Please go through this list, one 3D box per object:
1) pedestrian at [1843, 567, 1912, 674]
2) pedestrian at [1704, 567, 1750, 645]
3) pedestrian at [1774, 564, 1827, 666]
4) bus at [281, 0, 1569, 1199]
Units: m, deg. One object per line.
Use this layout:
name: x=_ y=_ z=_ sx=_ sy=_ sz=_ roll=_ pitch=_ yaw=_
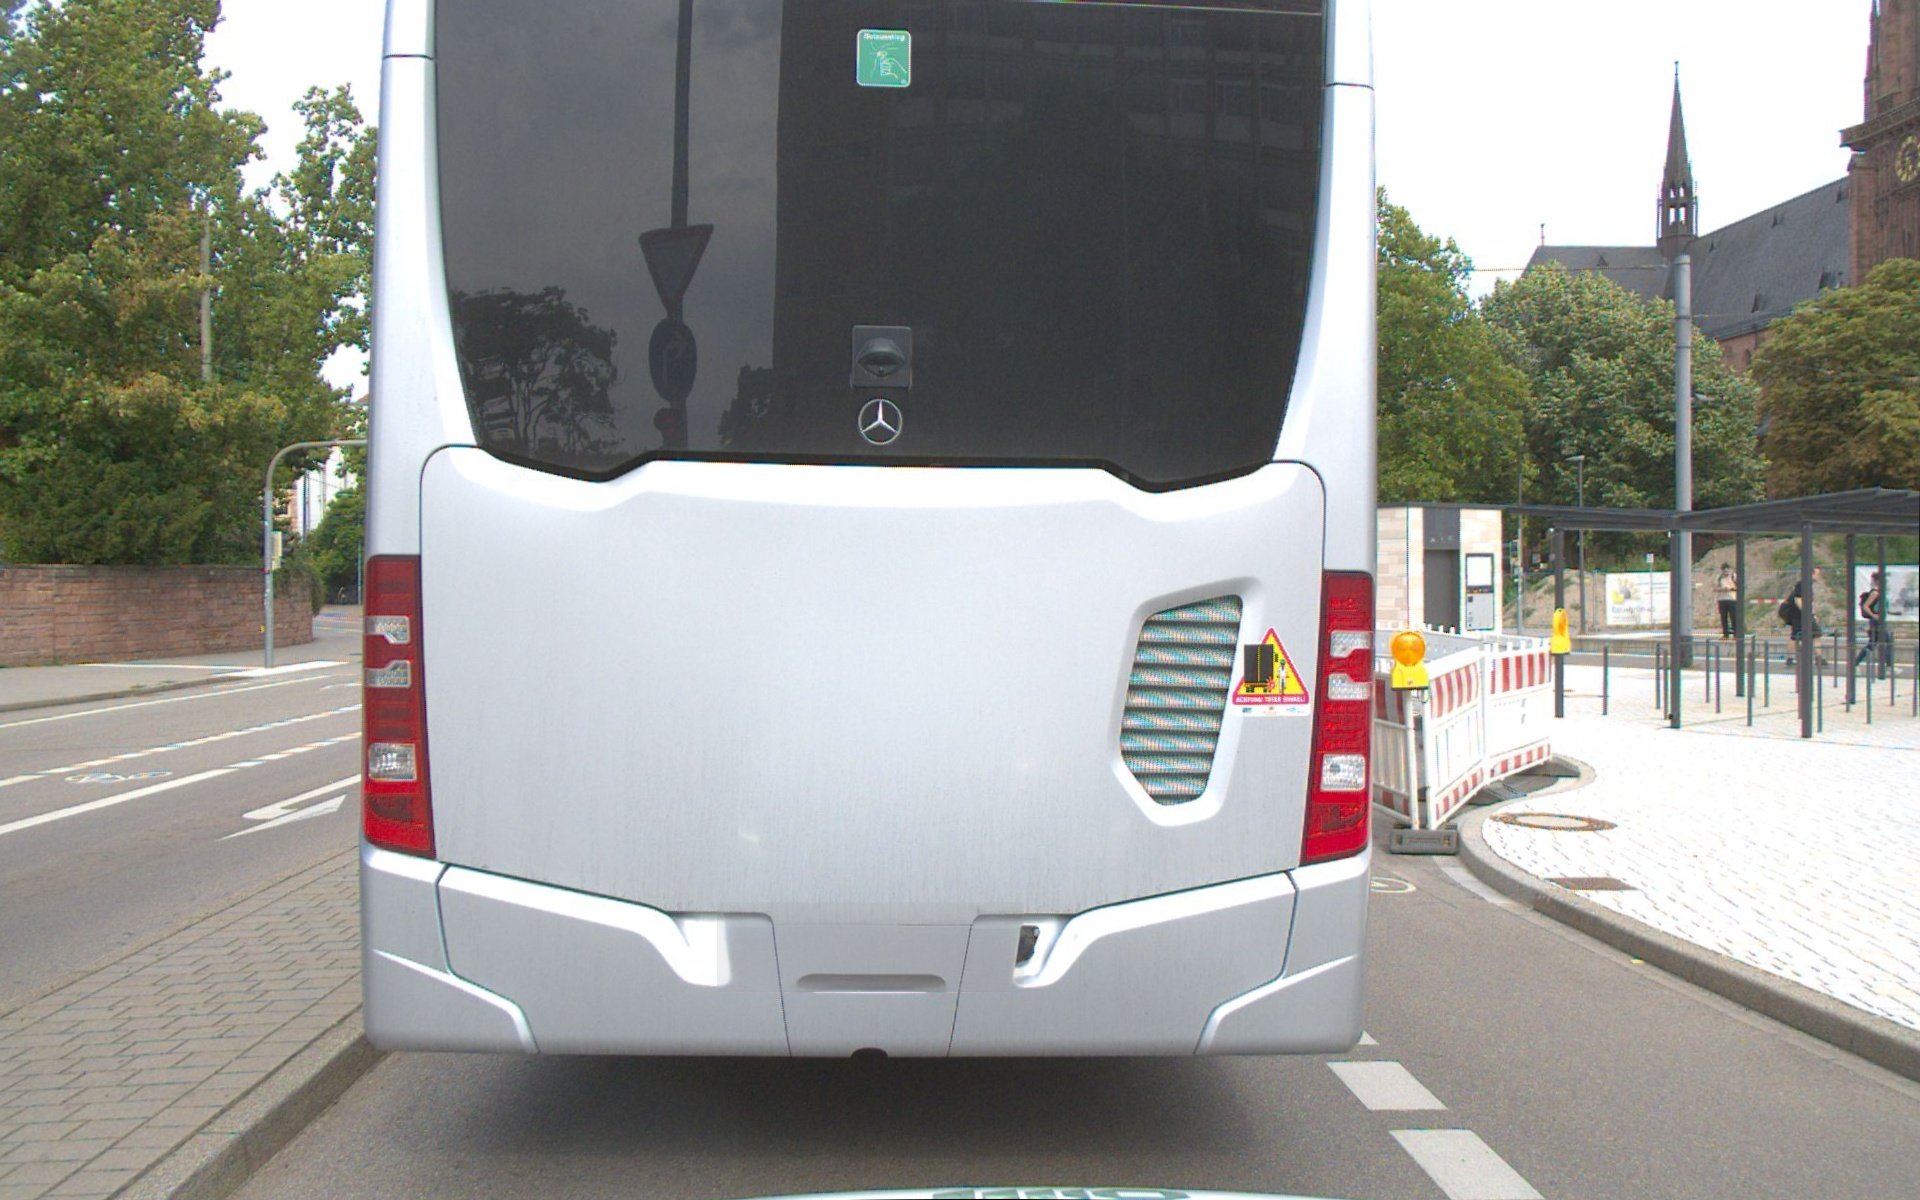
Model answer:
pedestrian: x=14.485 y=0.310 z=26.114 sx=0.533 sy=1.631 sz=0.787 roll=-2 pitch=3 yaw=-38
pedestrian: x=18.428 y=0.125 z=39.757 sx=0.803 sy=1.832 sz=0.753 roll=0 pitch=3 yaw=9
pedestrian: x=14.275 y=0.238 z=28.100 sx=0.526 sy=1.683 sz=0.621 roll=-2 pitch=3 yaw=-38
bus: x=0.042 y=-0.325 z=10.504 sx=2.649 sy=3.498 sz=14.185 roll=0 pitch=0 yaw=1
